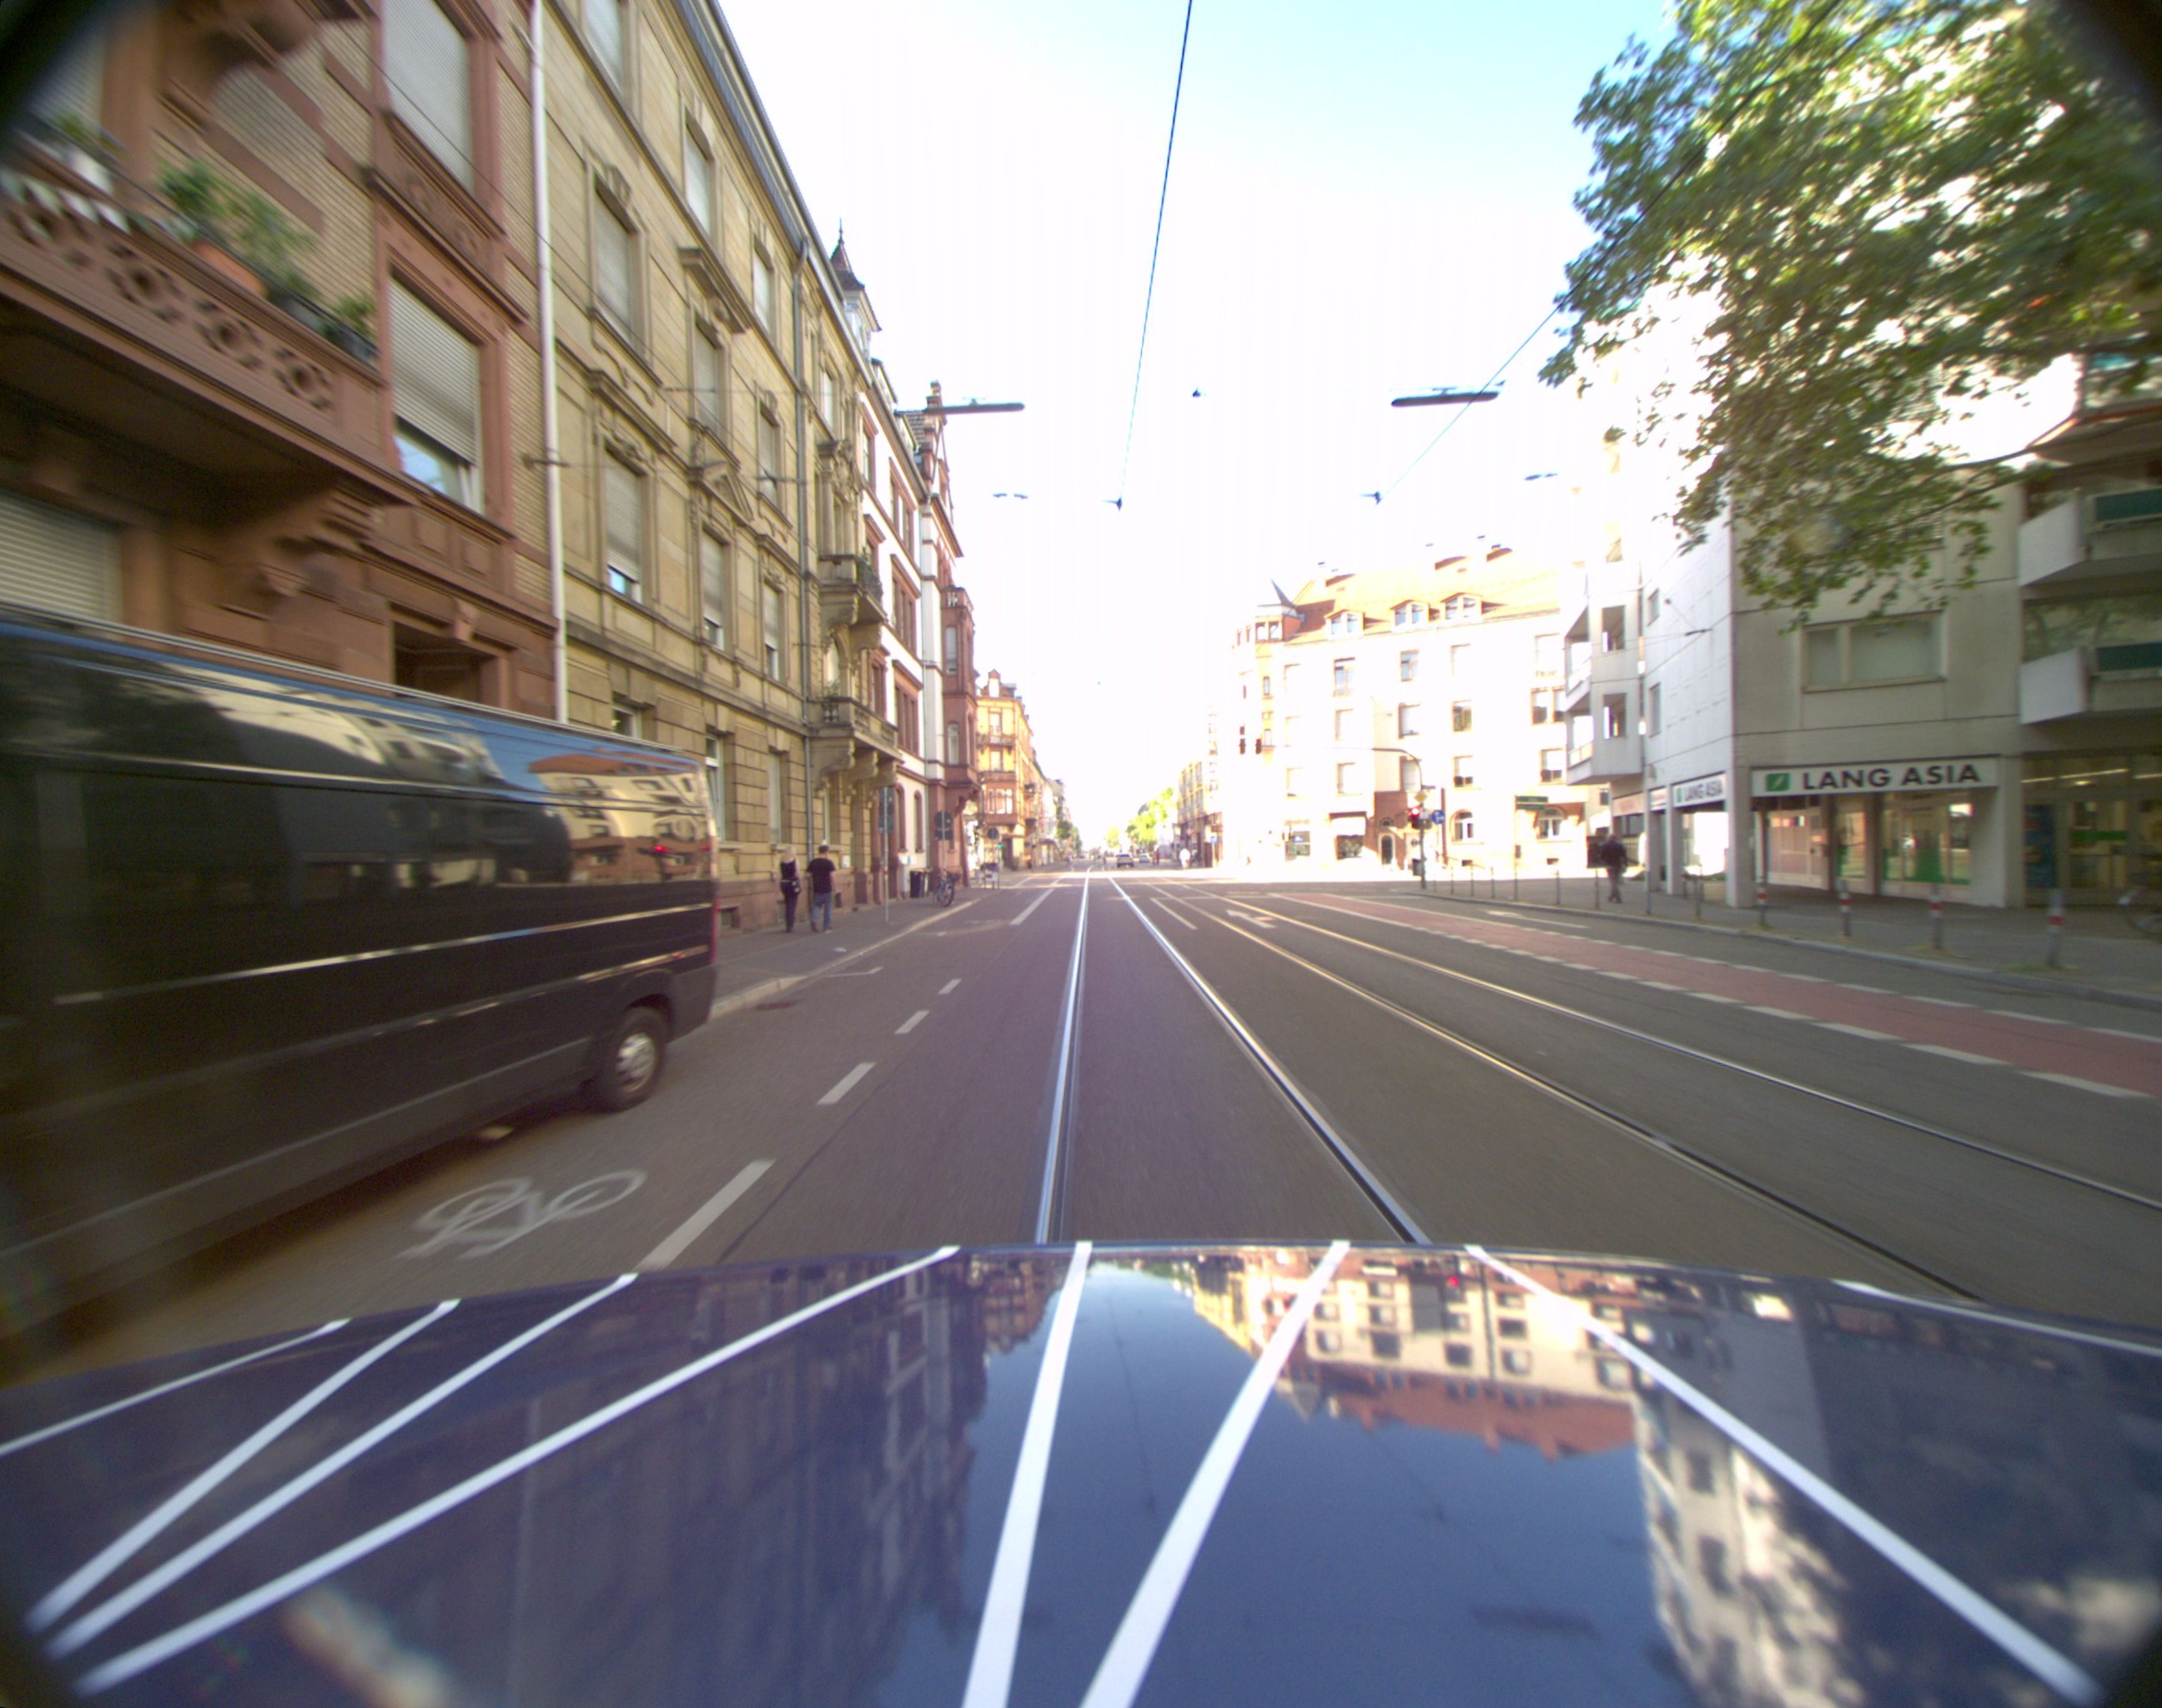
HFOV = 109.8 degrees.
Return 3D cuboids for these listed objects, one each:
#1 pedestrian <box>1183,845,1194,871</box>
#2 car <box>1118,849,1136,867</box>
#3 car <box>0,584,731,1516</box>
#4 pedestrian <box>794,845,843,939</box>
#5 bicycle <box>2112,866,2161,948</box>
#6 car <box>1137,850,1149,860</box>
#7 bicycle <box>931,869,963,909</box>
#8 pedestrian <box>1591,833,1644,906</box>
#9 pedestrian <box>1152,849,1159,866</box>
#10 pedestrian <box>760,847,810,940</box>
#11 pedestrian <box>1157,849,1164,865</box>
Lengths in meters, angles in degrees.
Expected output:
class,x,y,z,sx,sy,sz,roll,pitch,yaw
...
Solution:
class,x,y,z,sx,sy,sz,roll,pitch,yaw
pedestrian,8.722,0.316,61.733,0.756,2.002,0.718,-2,1,1
car,5.475,0.472,90.926,1.998,2.002,4.000,-1,0,1
car,-3.914,0.535,2.869,2.128,2.478,5.856,-2,1,3
pedestrian,-5.244,0.744,15.207,0.635,1.813,0.755,-2,1,1
bicycle,16.160,0.729,10.575,2.042,1.119,0.707,-2,1,28
car,10.593,0.193,129.723,1.719,1.696,4.000,-1,0,1
bicycle,-4.145,1.055,23.585,0.647,1.143,1.688,-1,0,1
pedestrian,13.934,0.400,19.741,0.795,1.837,0.809,-2,1,4
pedestrian,9.183,0.398,93.317,0.756,2.002,0.718,-2,1,1
pedestrian,-5.949,0.770,15.305,0.635,1.813,0.755,-2,1,1
pedestrian,10.137,0.319,96.970,0.756,2.002,0.718,-2,1,1
